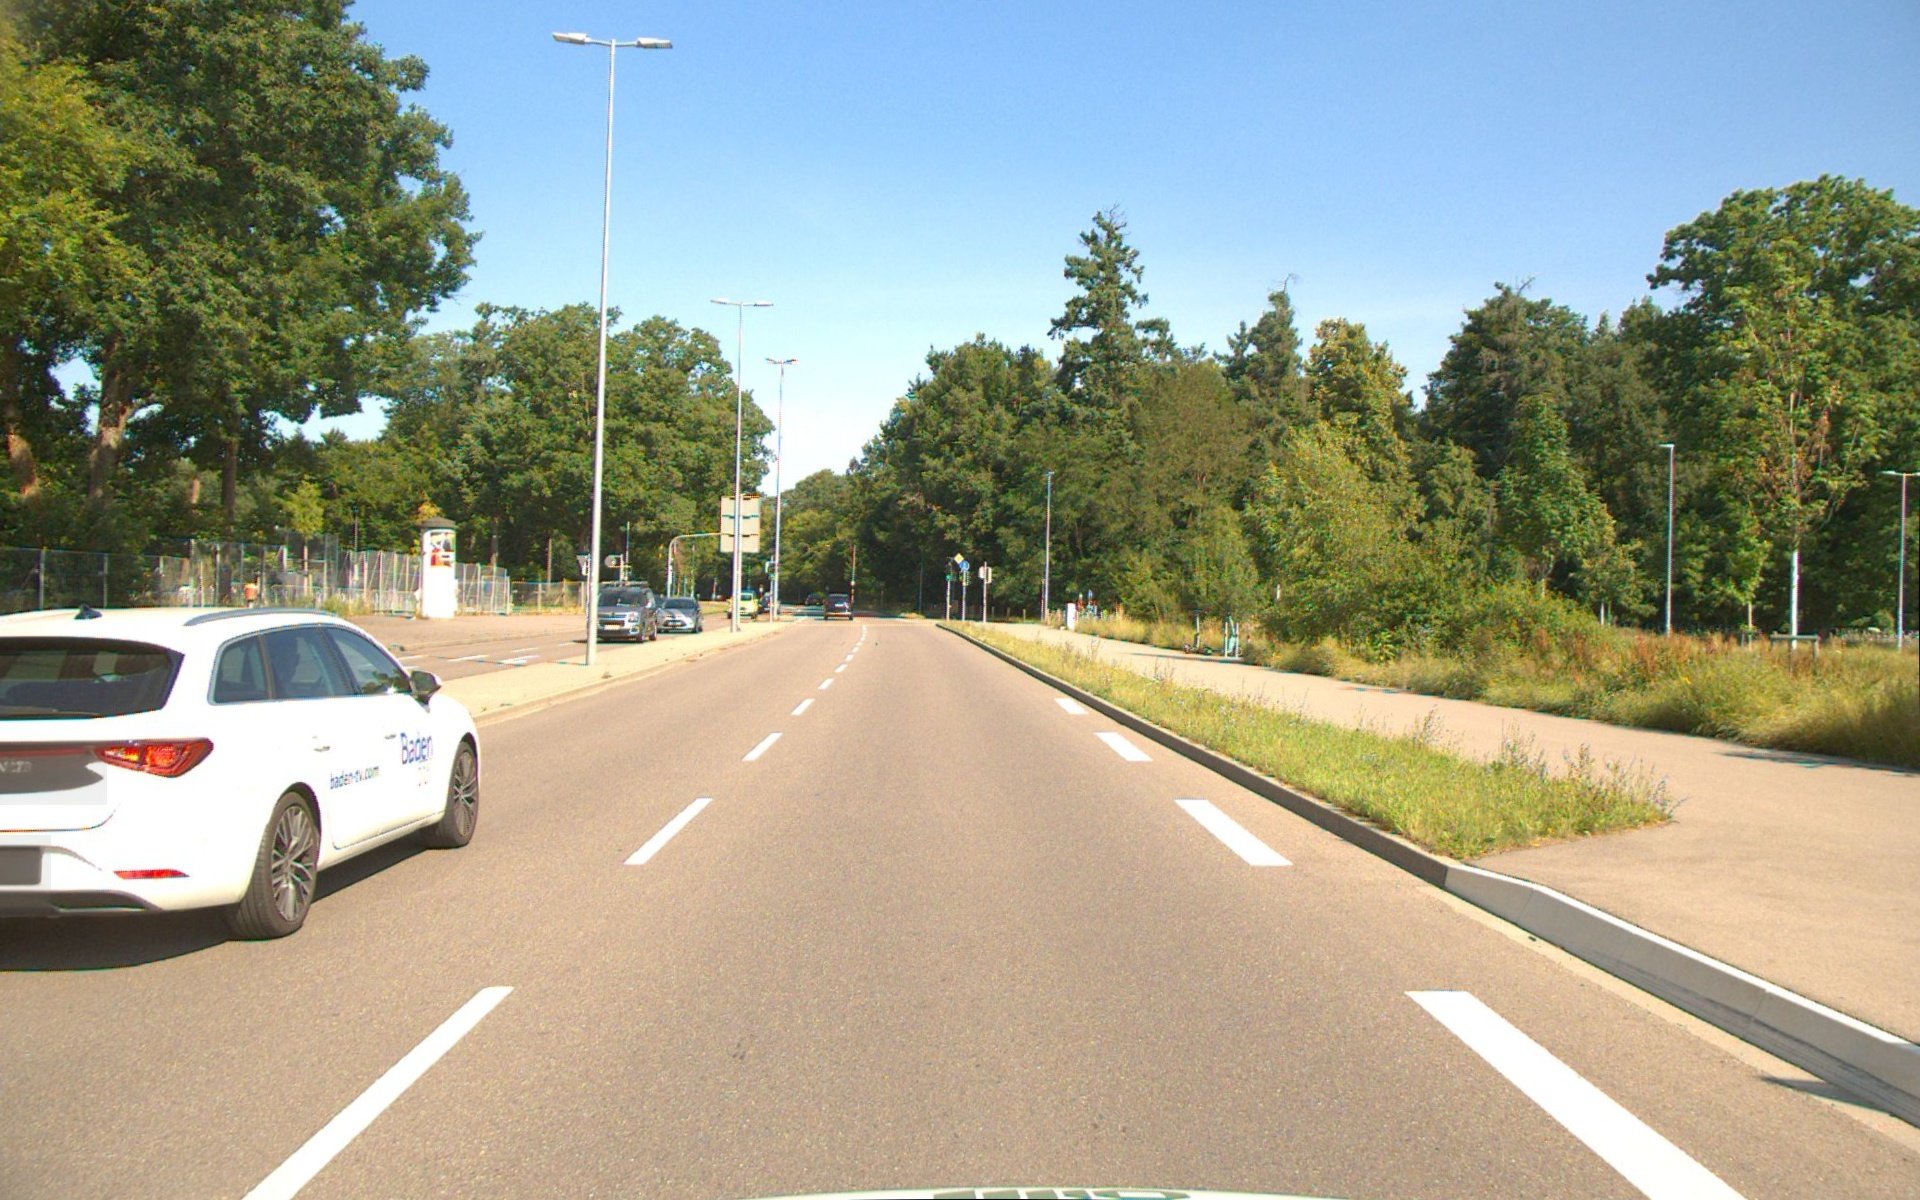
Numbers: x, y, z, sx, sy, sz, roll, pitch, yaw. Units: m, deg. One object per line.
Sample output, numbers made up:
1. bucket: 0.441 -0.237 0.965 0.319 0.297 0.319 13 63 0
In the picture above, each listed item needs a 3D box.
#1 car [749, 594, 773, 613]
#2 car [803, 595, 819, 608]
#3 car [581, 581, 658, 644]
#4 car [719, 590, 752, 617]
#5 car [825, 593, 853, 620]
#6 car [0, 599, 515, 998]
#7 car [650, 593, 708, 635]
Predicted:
1. car: -16.007 0.258 133.093 1.785 1.489 3.994 2 0 -6
2. car: -18.704 0.178 206.915 1.903 1.445 4.288 1 0 -6
3. car: -11.023 0.378 53.846 1.805 1.966 4.626 0 0 -4
4. car: -14.252 0.195 105.091 1.810 1.646 3.996 2 0 -5
5. car: -7.482 0.387 102.628 1.654 1.571 4.146 0 0 -3
6. car: -3.757 0.740 8.513 1.690 1.451 4.719 0 0 -1
7. car: -11.487 0.566 67.920 1.871 1.612 3.997 2 0 -3
